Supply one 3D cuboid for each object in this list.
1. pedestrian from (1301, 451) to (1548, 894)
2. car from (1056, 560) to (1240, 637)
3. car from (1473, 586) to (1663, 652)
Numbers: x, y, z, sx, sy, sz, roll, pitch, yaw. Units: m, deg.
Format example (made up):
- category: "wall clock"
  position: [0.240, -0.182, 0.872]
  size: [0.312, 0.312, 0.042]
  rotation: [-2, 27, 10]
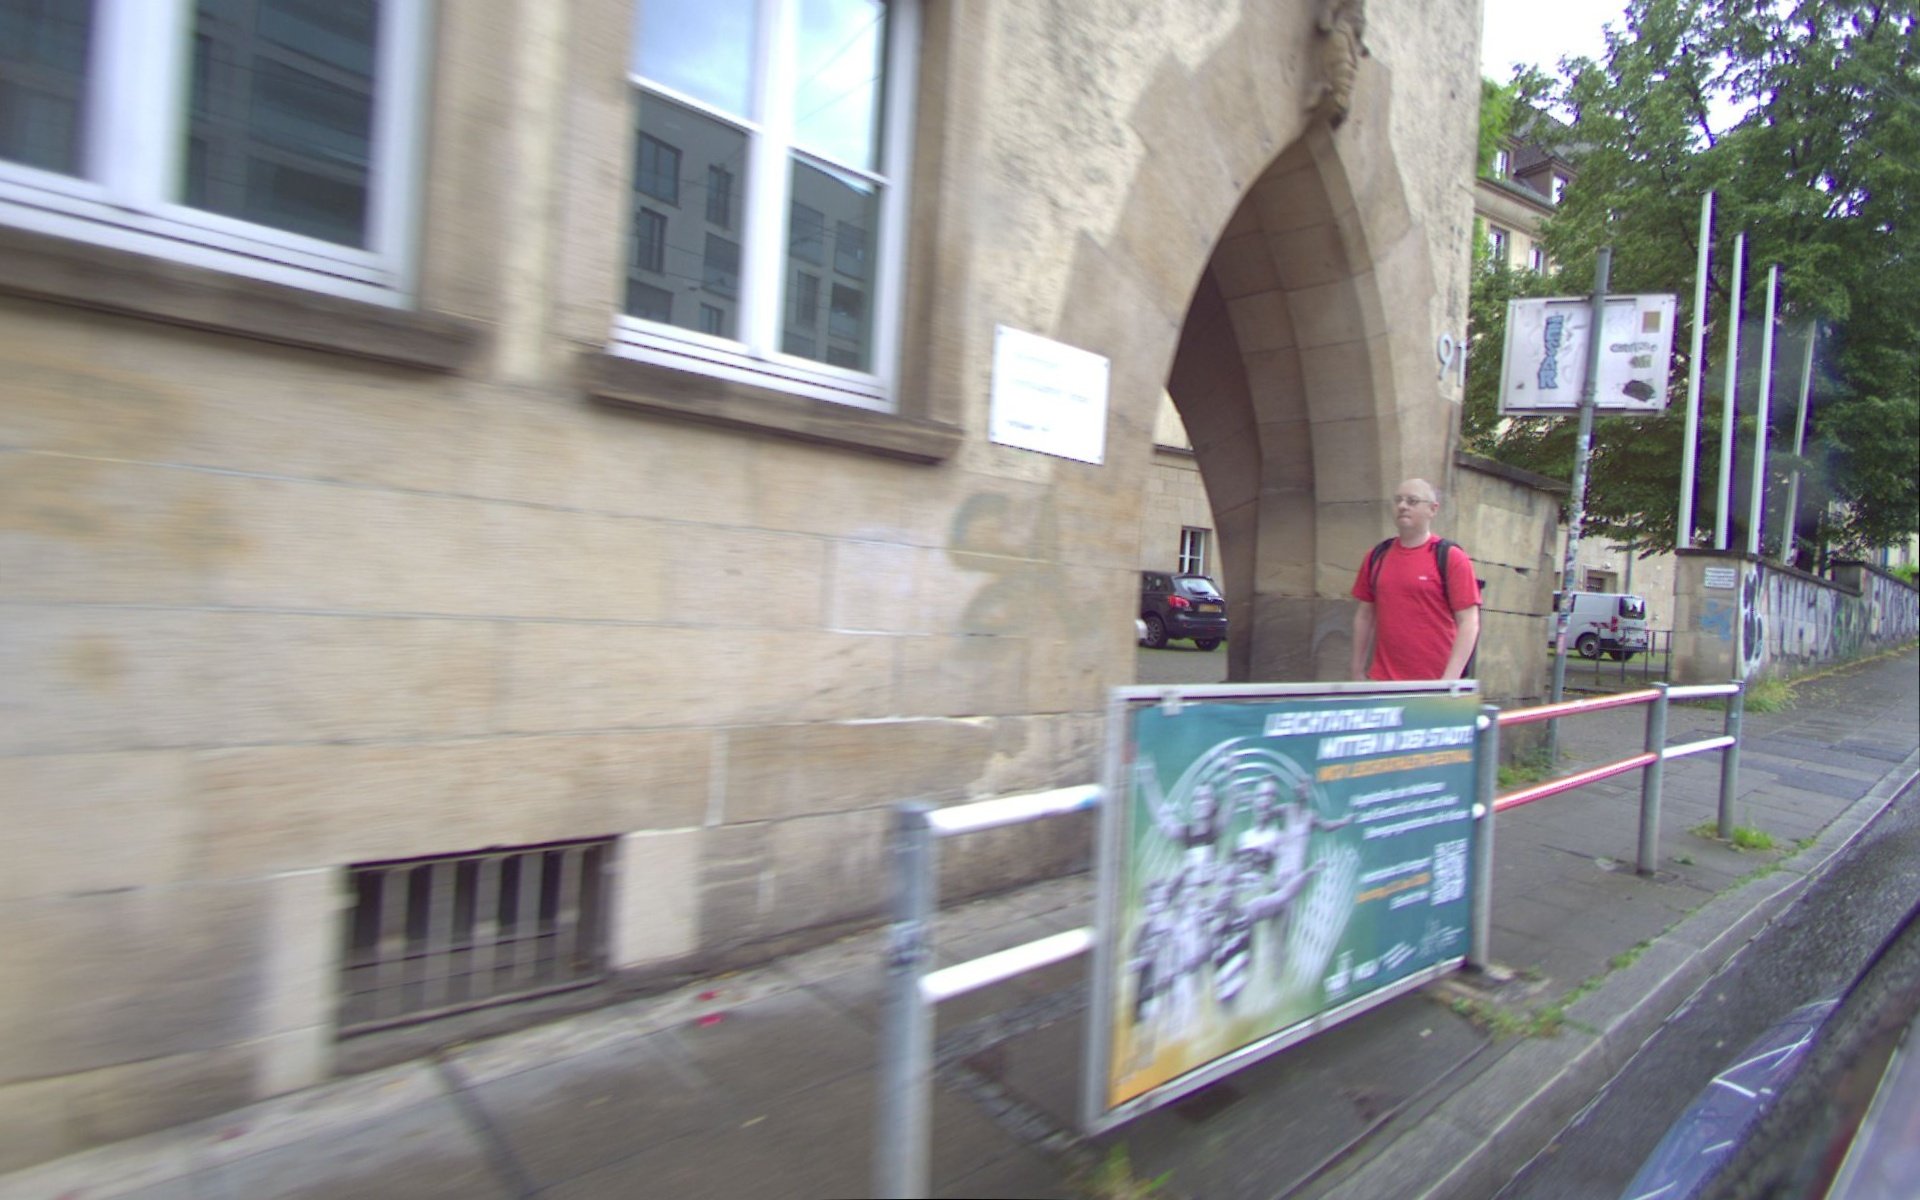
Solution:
- category: "pedestrian"
  position: [2.119, 0.280, 4.622]
  size: [0.804, 1.786, 0.748]
  rotation: [-1, 2, -41]
- category: "car"
  position: [3.906, -0.036, 21.648]
  size: [1.581, 1.488, 3.917]
  rotation: [-1, 0, -34]
- category: "car"
  position: [17.947, 0.512, 30.115]
  size: [1.786, 1.801, 4.538]
  rotation: [-1, 0, -29]
